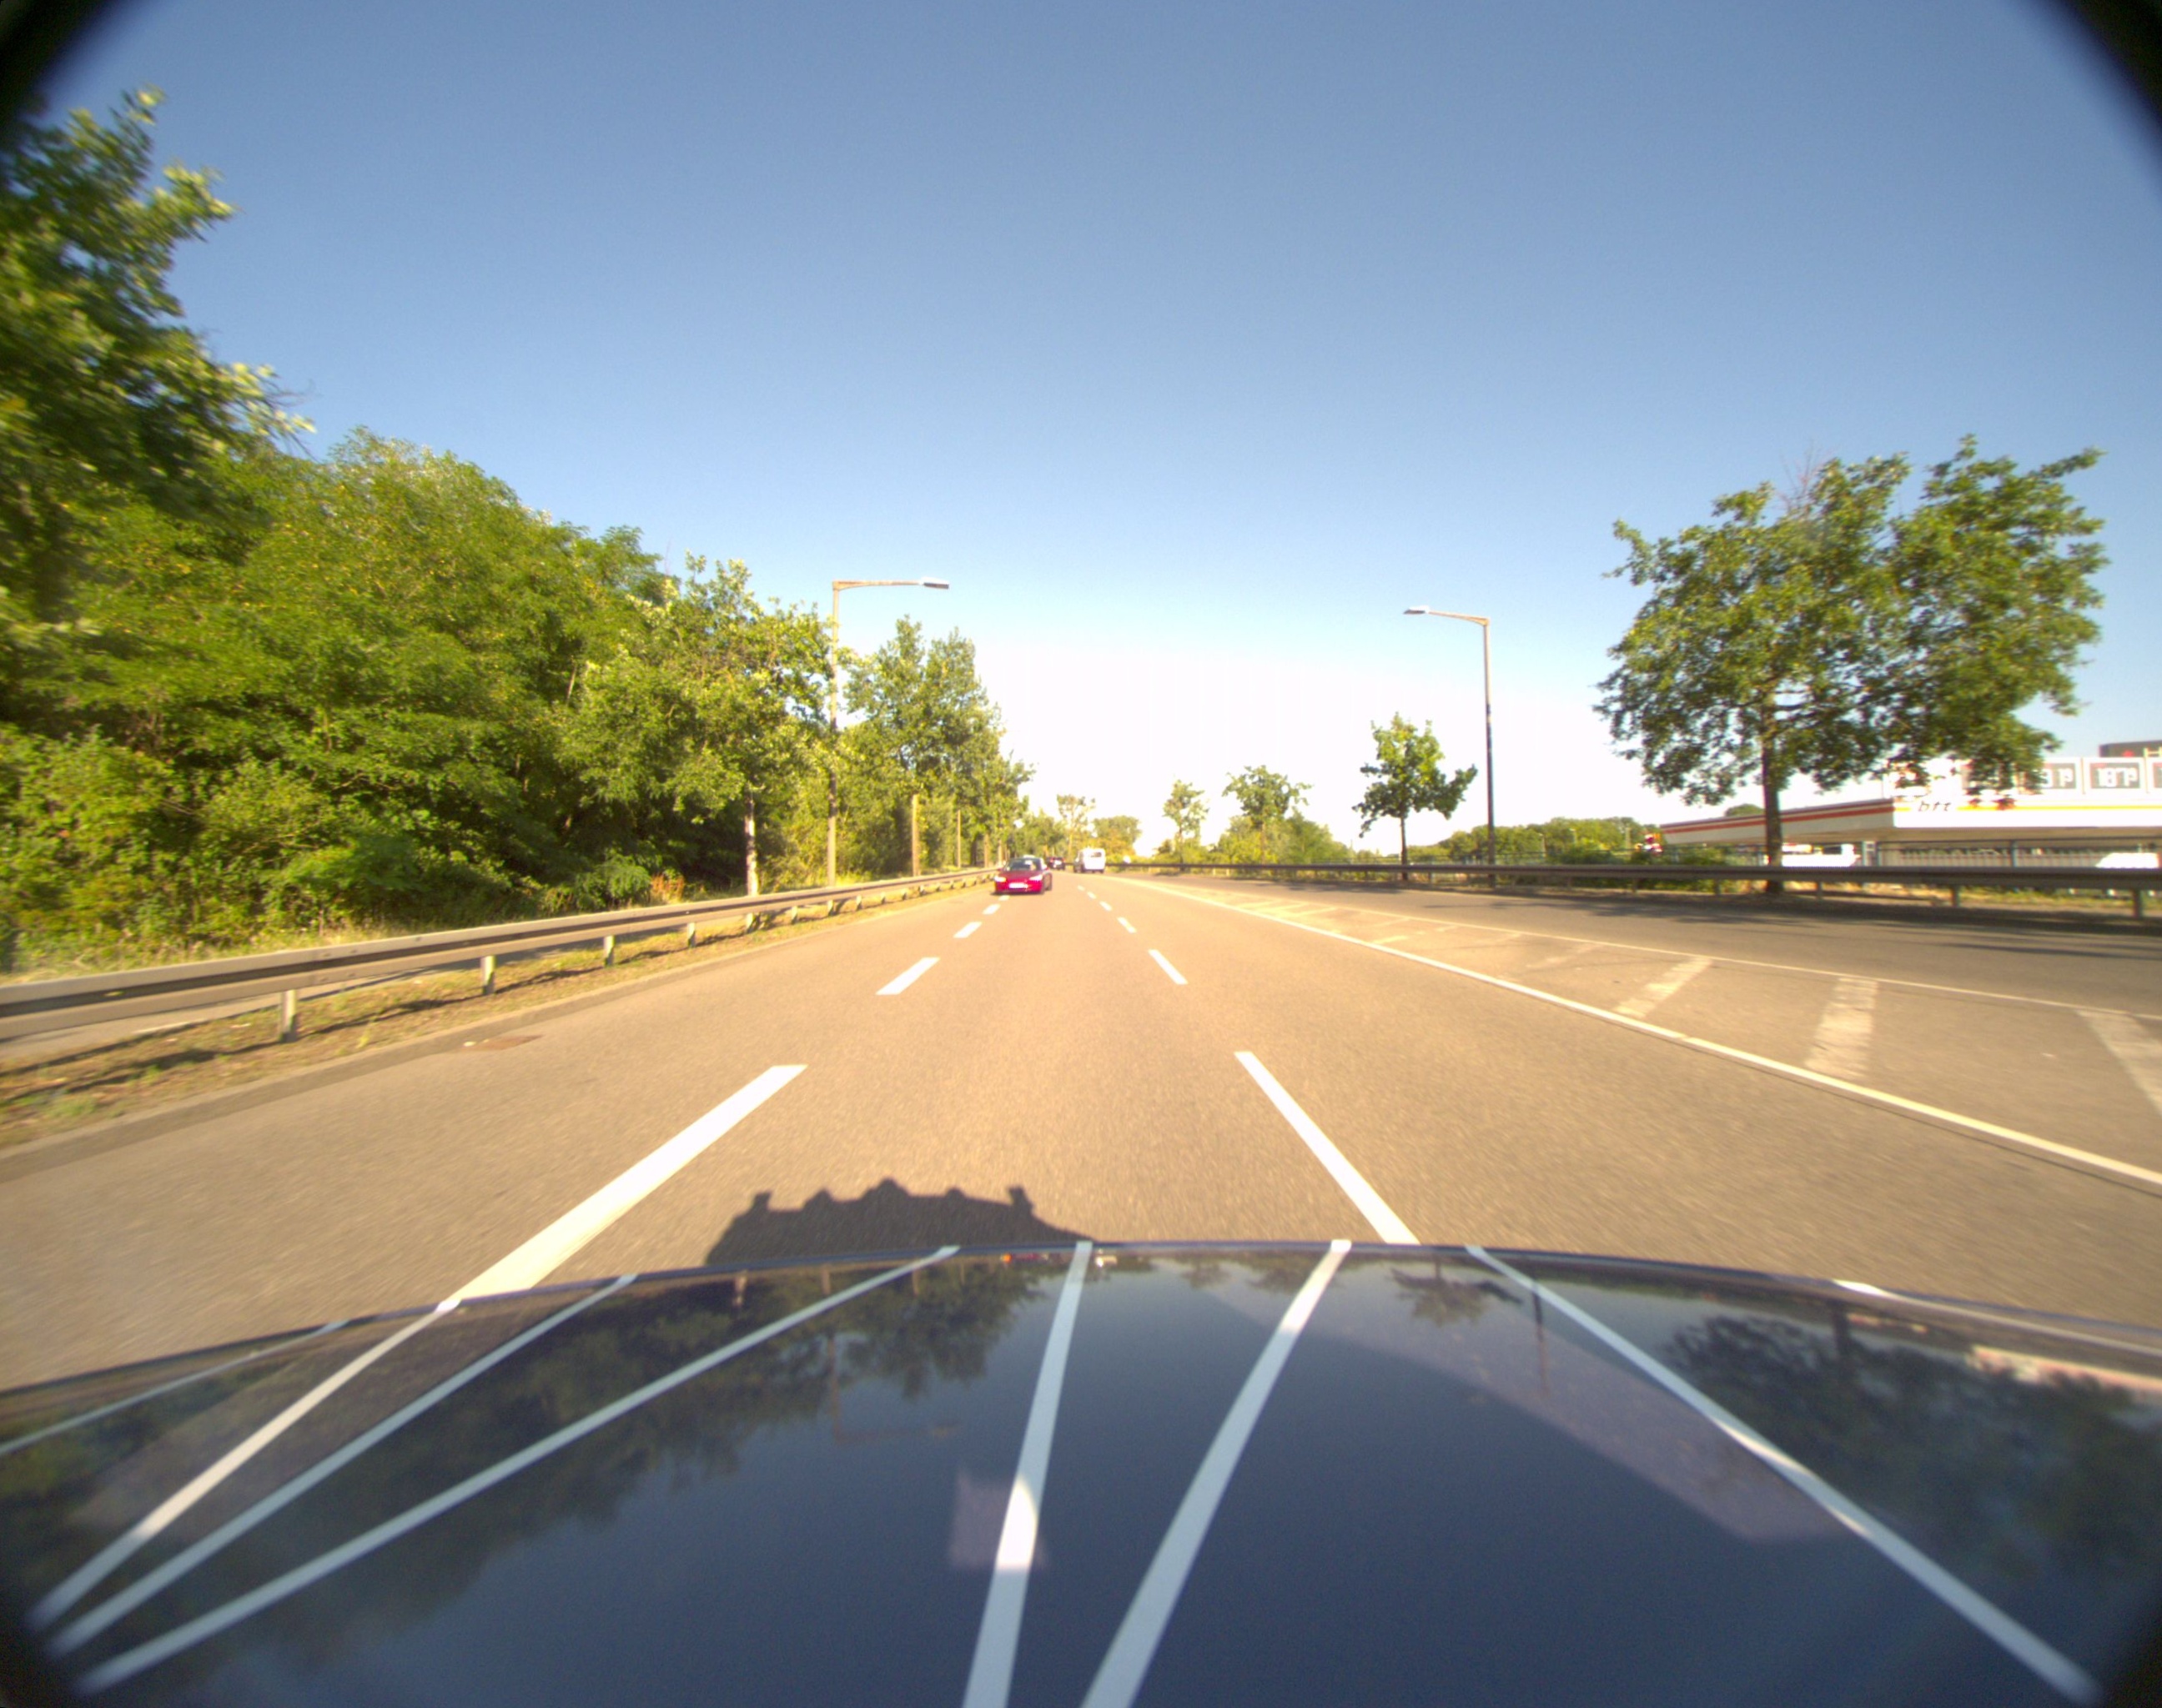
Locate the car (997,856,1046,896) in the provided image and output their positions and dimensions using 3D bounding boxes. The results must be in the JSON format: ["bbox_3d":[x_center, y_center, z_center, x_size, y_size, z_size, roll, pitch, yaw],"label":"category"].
[{"bbox_3d":[-2.306,0.814,30.272,1.782,1.434,4.358,0,0,-2],"label":"car"}]

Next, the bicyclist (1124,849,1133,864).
[{"bbox_3d":[4.521,0.260,72.472,0.601,1.451,0.827,1,1,-11],"label":"bicyclist"}]

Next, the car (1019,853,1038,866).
[{"bbox_3d":[-6.764,0.668,98.055,1.834,1.580,4.643,0,0,-12],"label":"car"}]

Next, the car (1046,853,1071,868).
[{"bbox_3d":[-2.379,0.691,79.109,1.779,1.457,4.378,-1,0,-13],"label":"car"}]

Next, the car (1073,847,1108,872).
[{"bbox_3d":[0.740,0.413,63.221,1.884,2.002,5.254,-2,1,-10],"label":"car"}]

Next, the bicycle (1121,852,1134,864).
[{"bbox_3d":[4.442,0.400,72.674,0.584,1.070,2.310,1,0,-11],"label":"bicycle"}]
